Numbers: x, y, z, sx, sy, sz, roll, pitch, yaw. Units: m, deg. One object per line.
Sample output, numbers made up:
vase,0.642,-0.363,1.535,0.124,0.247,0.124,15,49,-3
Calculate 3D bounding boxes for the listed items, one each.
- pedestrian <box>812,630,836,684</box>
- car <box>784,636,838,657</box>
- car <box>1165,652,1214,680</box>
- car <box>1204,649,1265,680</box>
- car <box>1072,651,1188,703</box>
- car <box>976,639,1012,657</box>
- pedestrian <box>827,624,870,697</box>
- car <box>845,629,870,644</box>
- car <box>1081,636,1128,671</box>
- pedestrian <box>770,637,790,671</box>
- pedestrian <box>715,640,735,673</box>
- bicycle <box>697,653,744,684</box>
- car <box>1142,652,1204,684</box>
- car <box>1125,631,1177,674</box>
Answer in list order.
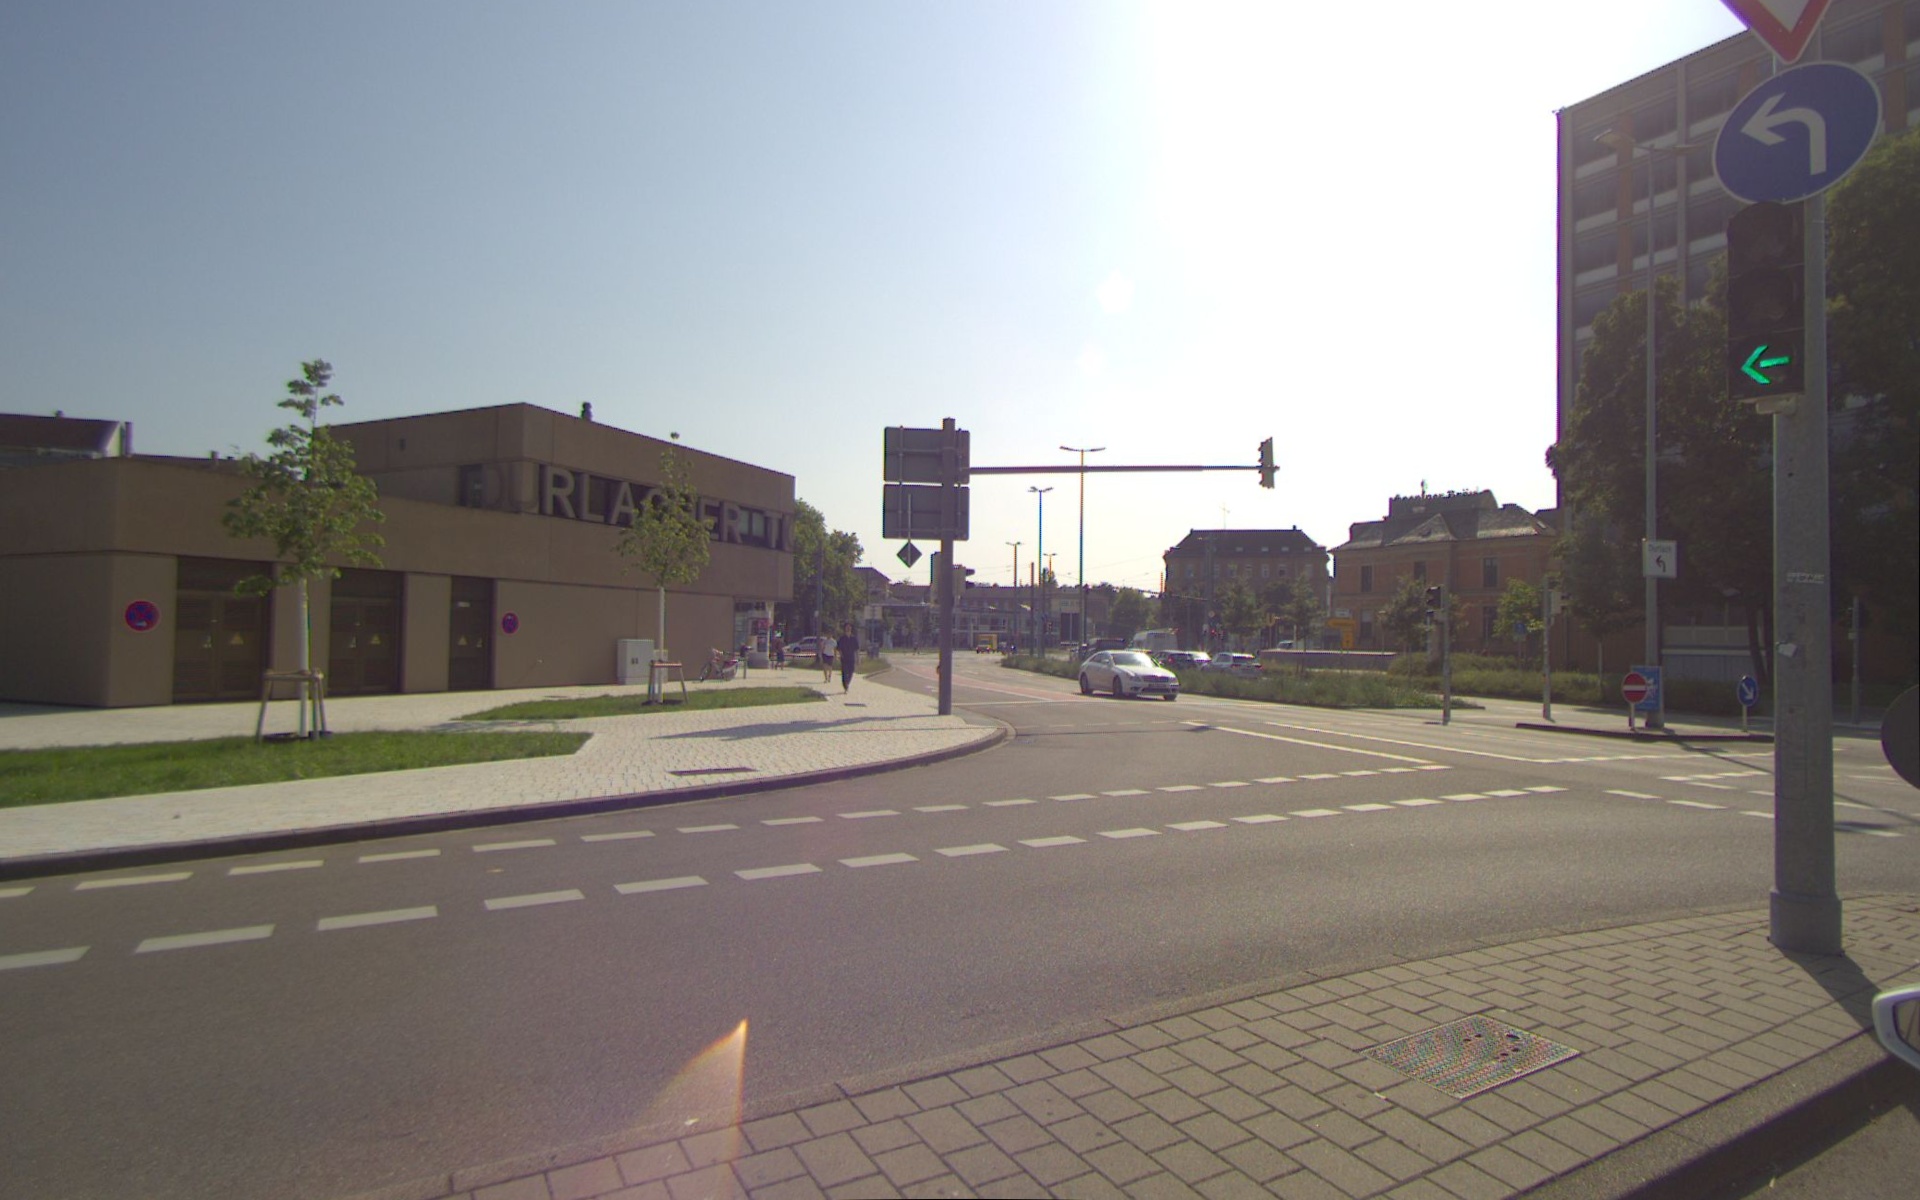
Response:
pedestrian,-4.713,1.973,34.811,0.685,1.857,0.567,2,-2,-24
car,-16.049,4.991,108.146,5.476,2.040,1.992,2,-2,-19
car,12.416,3.547,54.643,1.465,1.421,3.941,2,-3,-5
car,13.114,3.077,48.135,1.658,1.405,3.633,2,-3,-5
car,5.093,2.303,30.863,1.816,1.379,4.808,2,-2,-13
car,4.050,5.733,119.670,3.937,2.040,1.992,1,-2,-18
pedestrian,-2.921,1.578,26.308,0.721,1.864,1.074,2,-2,-29
car,-16.046,5.715,157.240,3.926,2.040,1.997,2,0,-8
car,8.853,3.290,61.841,1.991,2.034,4.683,2,-3,-3
pedestrian,-9.534,2.829,53.078,0.673,1.783,0.869,3,-3,-39
pedestrian,-13.062,3.137,55.782,0.839,1.802,0.869,2,0,-31
bicycle,-7.915,2.245,33.273,0.648,0.968,1.612,2,-2,24
car,10.203,3.255,48.352,1.675,1.386,3.959,2,-3,-8
car,12.050,3.327,63.541,2.153,2.582,4.683,2,-3,-3
